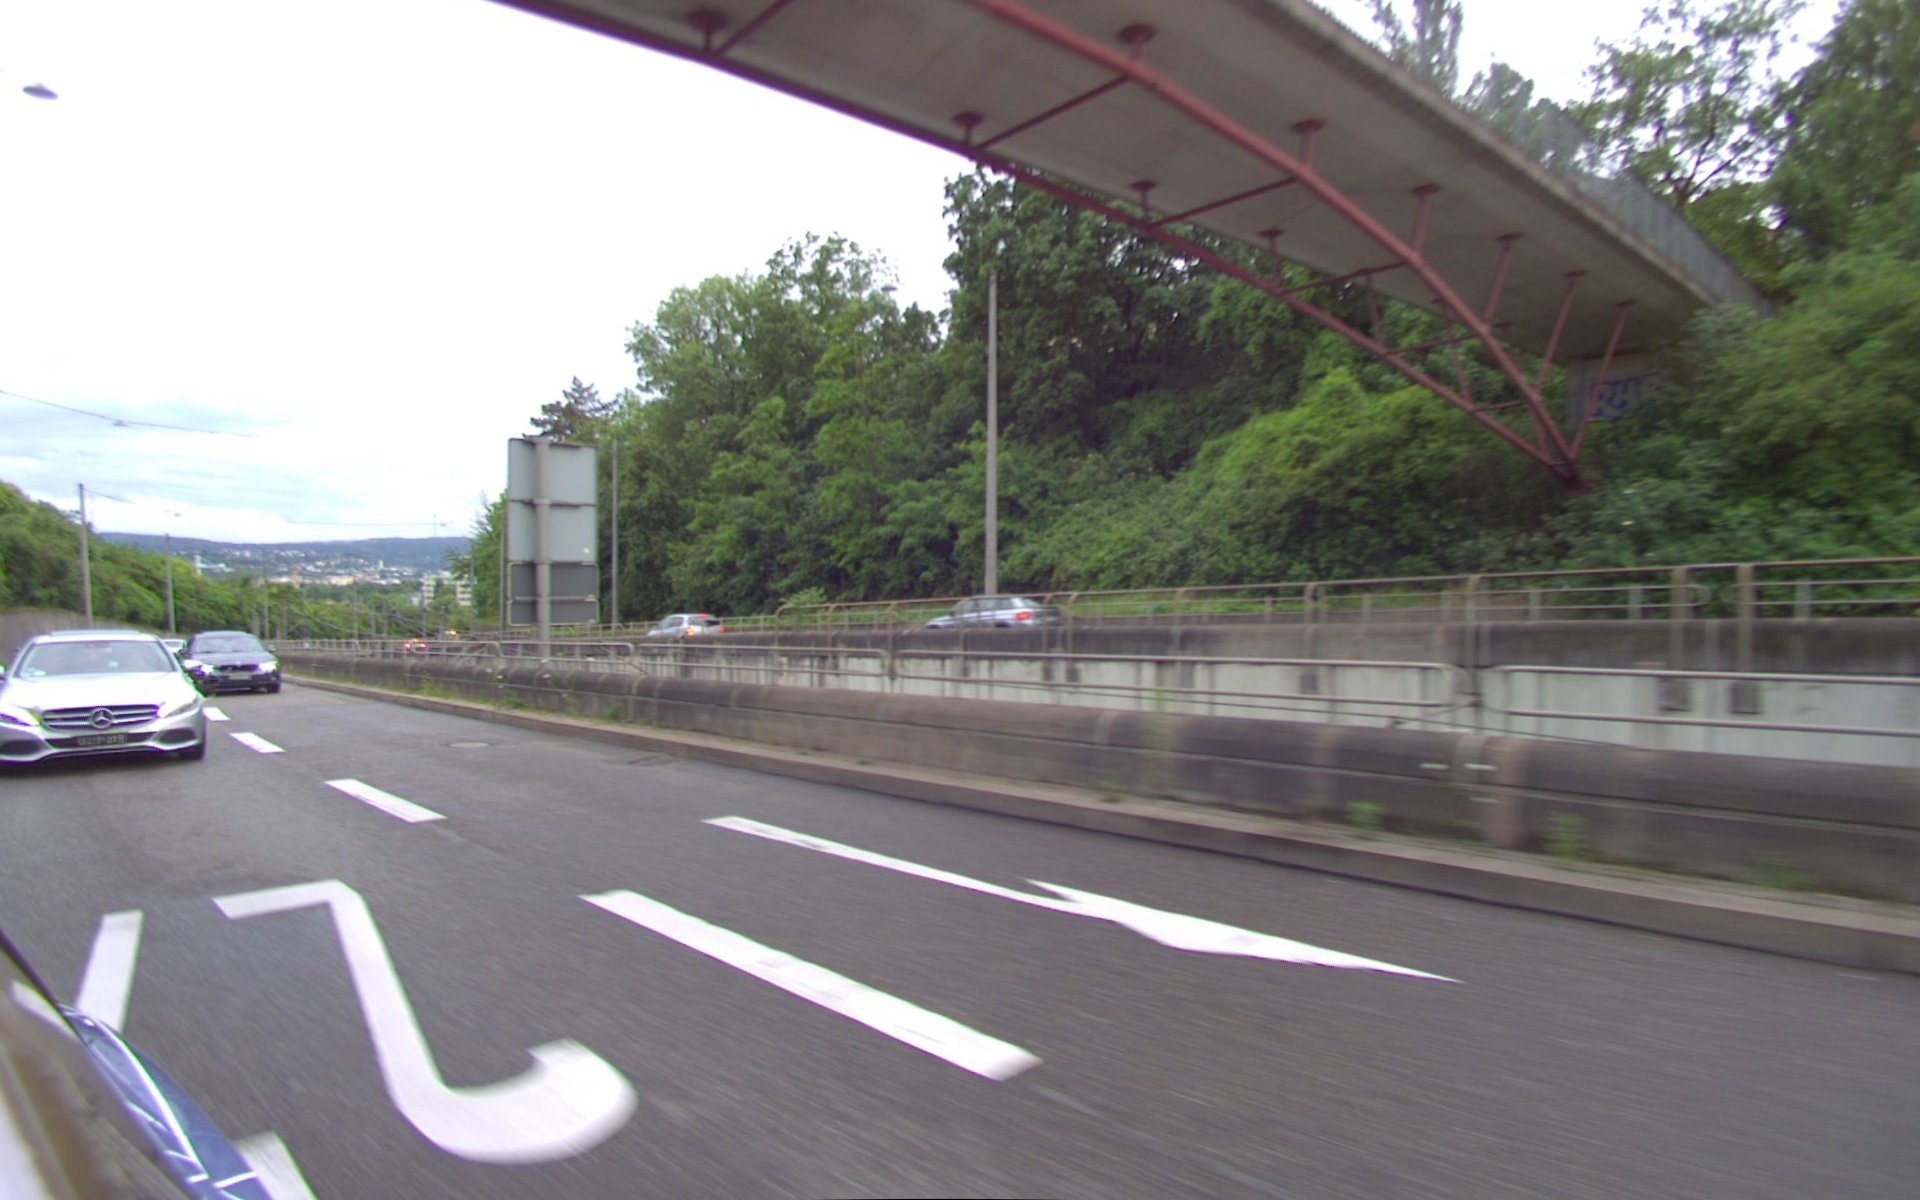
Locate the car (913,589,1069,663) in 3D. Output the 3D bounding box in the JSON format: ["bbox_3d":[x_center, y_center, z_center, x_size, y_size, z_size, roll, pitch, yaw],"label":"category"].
[{"bbox_3d":[0.794,0.735,28.628,1.651,1.930,4.563,1,-2,-43],"label":"car"}]

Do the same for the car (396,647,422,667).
[{"bbox_3d":[-51.444,5.305,94.554,1.933,1.763,4.154,1,-3,-27],"label":"car"}]

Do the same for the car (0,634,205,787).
[{"bbox_3d":[-10.074,1.141,11.654,1.834,1.414,4.320,0,-2,-42],"label":"car"}]

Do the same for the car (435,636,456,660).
[{"bbox_3d":[-61.281,5.739,120.548,2.152,2.755,6.365,1,-3,-28],"label":"car"}]

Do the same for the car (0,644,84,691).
[{"bbox_3d":[-35.007,2.525,38.685,1.781,1.521,4.010,-2,0,-34],"label":"car"}]

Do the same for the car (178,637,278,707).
[{"bbox_3d":[-17.332,1.635,23.904,1.703,1.482,3.894,1,-2,-39],"label":"car"}]

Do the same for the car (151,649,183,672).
[{"bbox_3d":[-61.997,4.697,79.143,1.782,1.521,4.009,-2,0,-37],"label":"car"}]

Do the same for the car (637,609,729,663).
[{"bbox_3d":[-10.063,1.322,36.613,1.650,1.844,4.006,2,-3,-41],"label":"car"}]
